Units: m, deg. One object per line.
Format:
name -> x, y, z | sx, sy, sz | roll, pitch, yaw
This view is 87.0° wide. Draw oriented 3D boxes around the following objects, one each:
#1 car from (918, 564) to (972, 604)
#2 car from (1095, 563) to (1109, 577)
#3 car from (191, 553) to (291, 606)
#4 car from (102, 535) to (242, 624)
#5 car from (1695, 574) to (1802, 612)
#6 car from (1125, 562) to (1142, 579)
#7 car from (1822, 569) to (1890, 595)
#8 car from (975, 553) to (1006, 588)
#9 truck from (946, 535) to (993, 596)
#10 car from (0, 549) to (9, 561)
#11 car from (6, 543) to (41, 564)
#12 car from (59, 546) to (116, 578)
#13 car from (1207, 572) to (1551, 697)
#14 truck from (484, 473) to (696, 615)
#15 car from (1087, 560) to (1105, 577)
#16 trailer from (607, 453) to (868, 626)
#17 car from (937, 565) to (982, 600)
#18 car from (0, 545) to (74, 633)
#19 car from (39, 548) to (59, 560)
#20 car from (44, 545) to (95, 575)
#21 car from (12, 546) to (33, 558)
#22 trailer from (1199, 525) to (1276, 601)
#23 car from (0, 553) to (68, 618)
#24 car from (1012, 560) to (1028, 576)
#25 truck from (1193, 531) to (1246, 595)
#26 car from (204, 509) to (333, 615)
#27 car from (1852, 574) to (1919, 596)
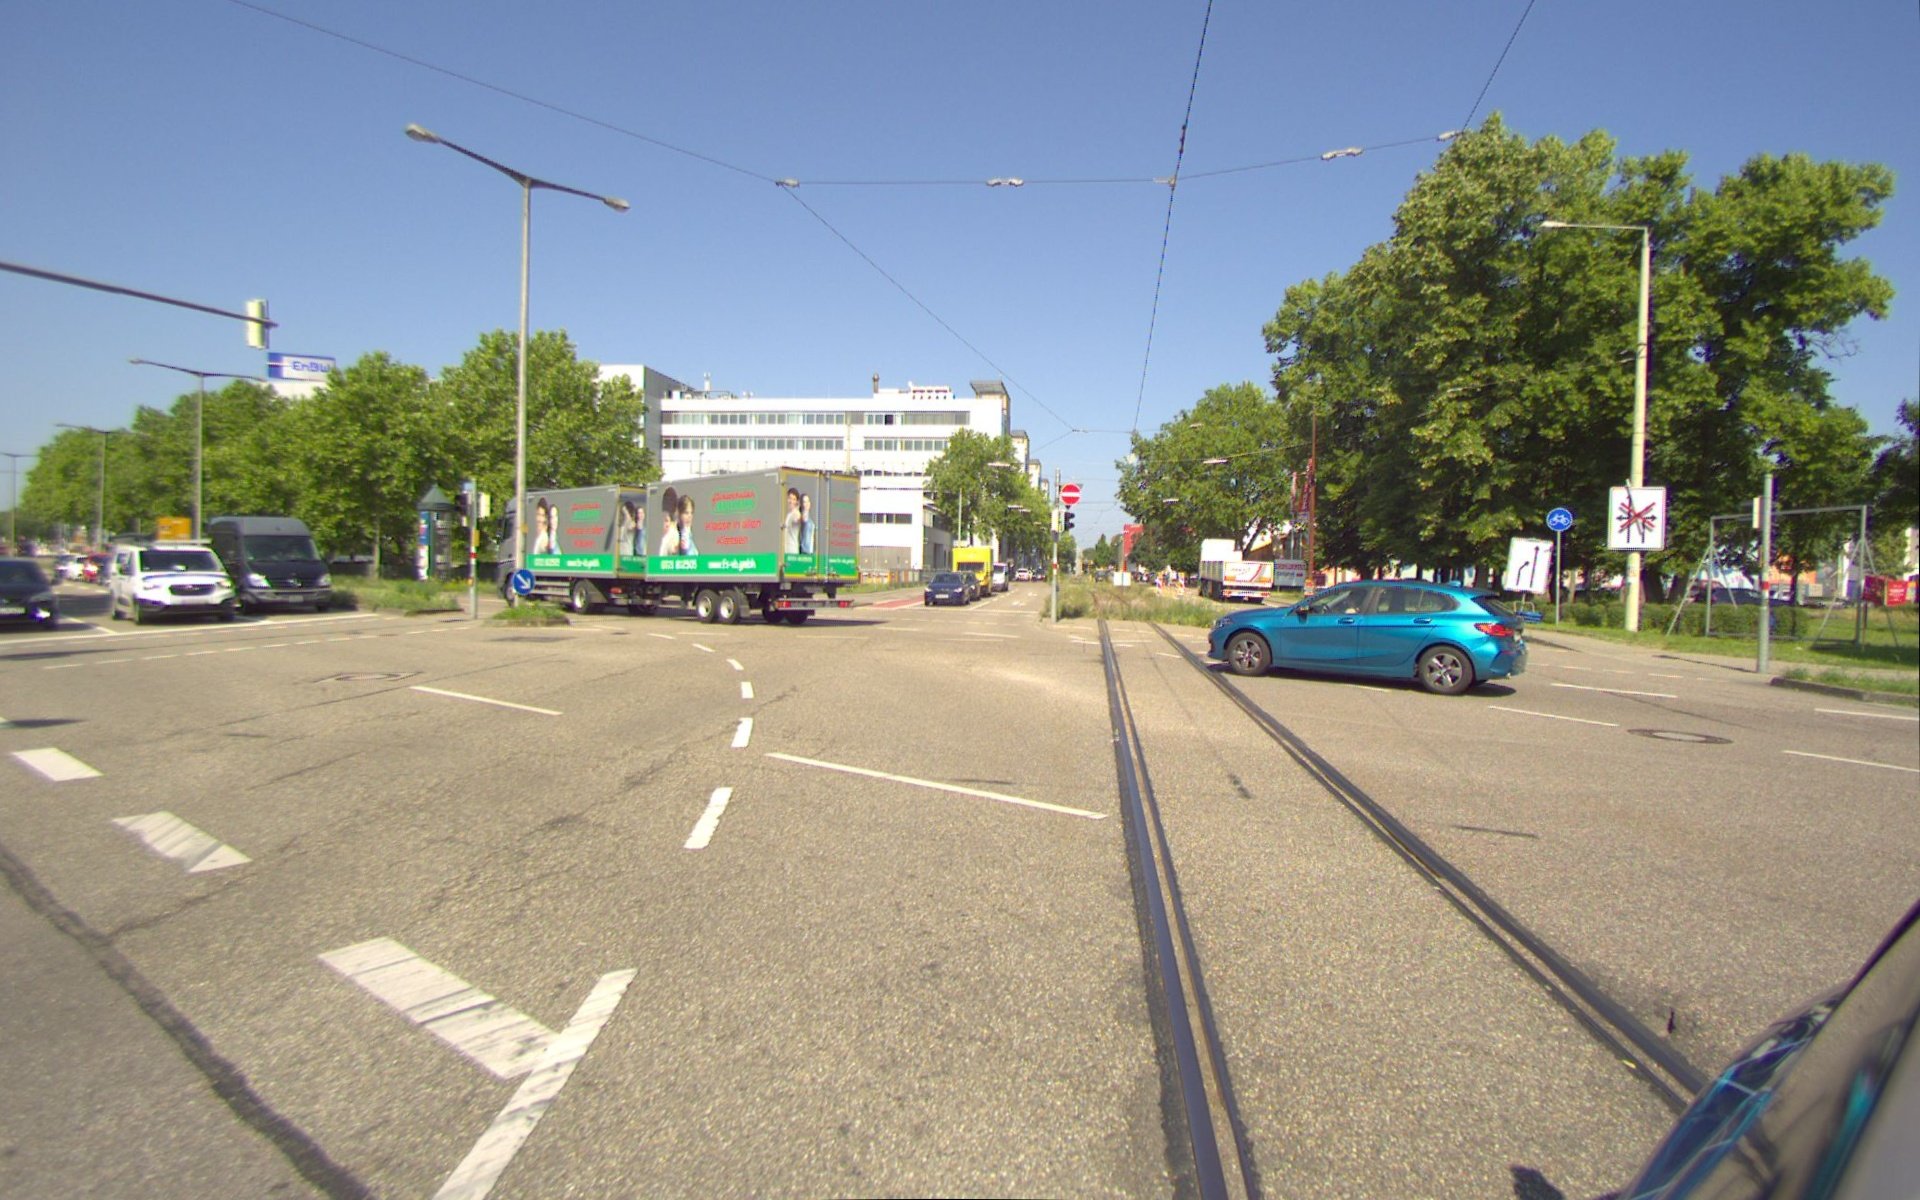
car -> -0.595, -0.653, 43.965 | 1.964, 1.571, 3.996 | 2, 0, 4
car -> 22.337, -4.684, 159.075 | 1.966, 2.039, 3.993 | 2, 0, 6
car -> -23.495, -0.703, 33.027 | 3.988, 1.604, 1.968 | 2, 3, 44
car -> -18.577, -0.513, 23.789 | 4.759, 1.893, 1.969 | 2, 2, 44
car -> 41.776, -0.355, 53.715 | 3.945, 1.861, 1.989 | 2, 0, 17
car -> 23.990, -4.080, 140.258 | 1.965, 2.039, 3.994 | 2, 0, 5
car -> 76.180, -1.513, 86.117 | 3.925, 2.039, 1.999 | 2, 0, 1
car -> 2.158, -2.044, 70.892 | 1.964, 2.229, 3.996 | 2, 0, 4
truck -> 0.648, -1.902, 58.926 | 2.258, 3.174, 6.953 | 2, 0, 4
car -> -135.459, -6.416, 142.501 | 4.443, 1.605, 1.968 | 2, 0, 44
car -> -80.418, -3.965, 86.913 | 4.223, 1.700, 1.969 | 2, 2, 44
car -> -47.848, -2.066, 55.471 | 3.988, 1.605, 1.968 | 2, 0, 44
car -> 5.799, 0.372, 14.283 | 4.114, 1.437, 1.846 | 3, 2, 41
truck -> -12.036, -1.684, 32.336 | 8.695, 3.939, 2.695 | 2, 0, 44
car -> 17.930, -4.168, 133.523 | 1.964, 2.039, 3.995 | 2, 0, 4
trailer -> -6.071, -1.467, 26.665 | 7.709, 3.926, 2.702 | 2, 0, 43
car -> 0.014, -0.824, 49.994 | 1.964, 1.571, 3.996 | 2, 0, 4
car -> -19.469, -0.266, 20.597 | 3.726, 1.662, 1.887 | 2, 2, 44
car -> -137.478, -6.924, 152.747 | 4.443, 1.605, 1.968 | 2, 0, 44
car -> -54.047, -2.431, 61.397 | 3.987, 1.660, 1.968 | 2, 0, 44
car -> -133.729, -6.878, 144.408 | 4.443, 1.605, 1.968 | 2, 0, 44
trailer -> 15.552, -2.099, 57.512 | 2.770, 3.819, 11.824 | 1, 2, 9
car -> -24.406, -0.417, 25.961 | 4.223, 1.559, 1.969 | 2, 2, 44
car -> 8.461, -4.500, 141.539 | 1.966, 2.039, 3.992 | 2, 0, 6
truck -> 16.783, -2.402, 65.756 | 2.754, 3.874, 5.093 | 2, 2, 9
car -> -18.999, -1.040, 27.706 | 5.118, 2.639, 1.968 | 2, 2, 44
car -> 86.736, -1.377, 94.256 | 5.071, 1.776, 1.991 | 2, 0, 15
